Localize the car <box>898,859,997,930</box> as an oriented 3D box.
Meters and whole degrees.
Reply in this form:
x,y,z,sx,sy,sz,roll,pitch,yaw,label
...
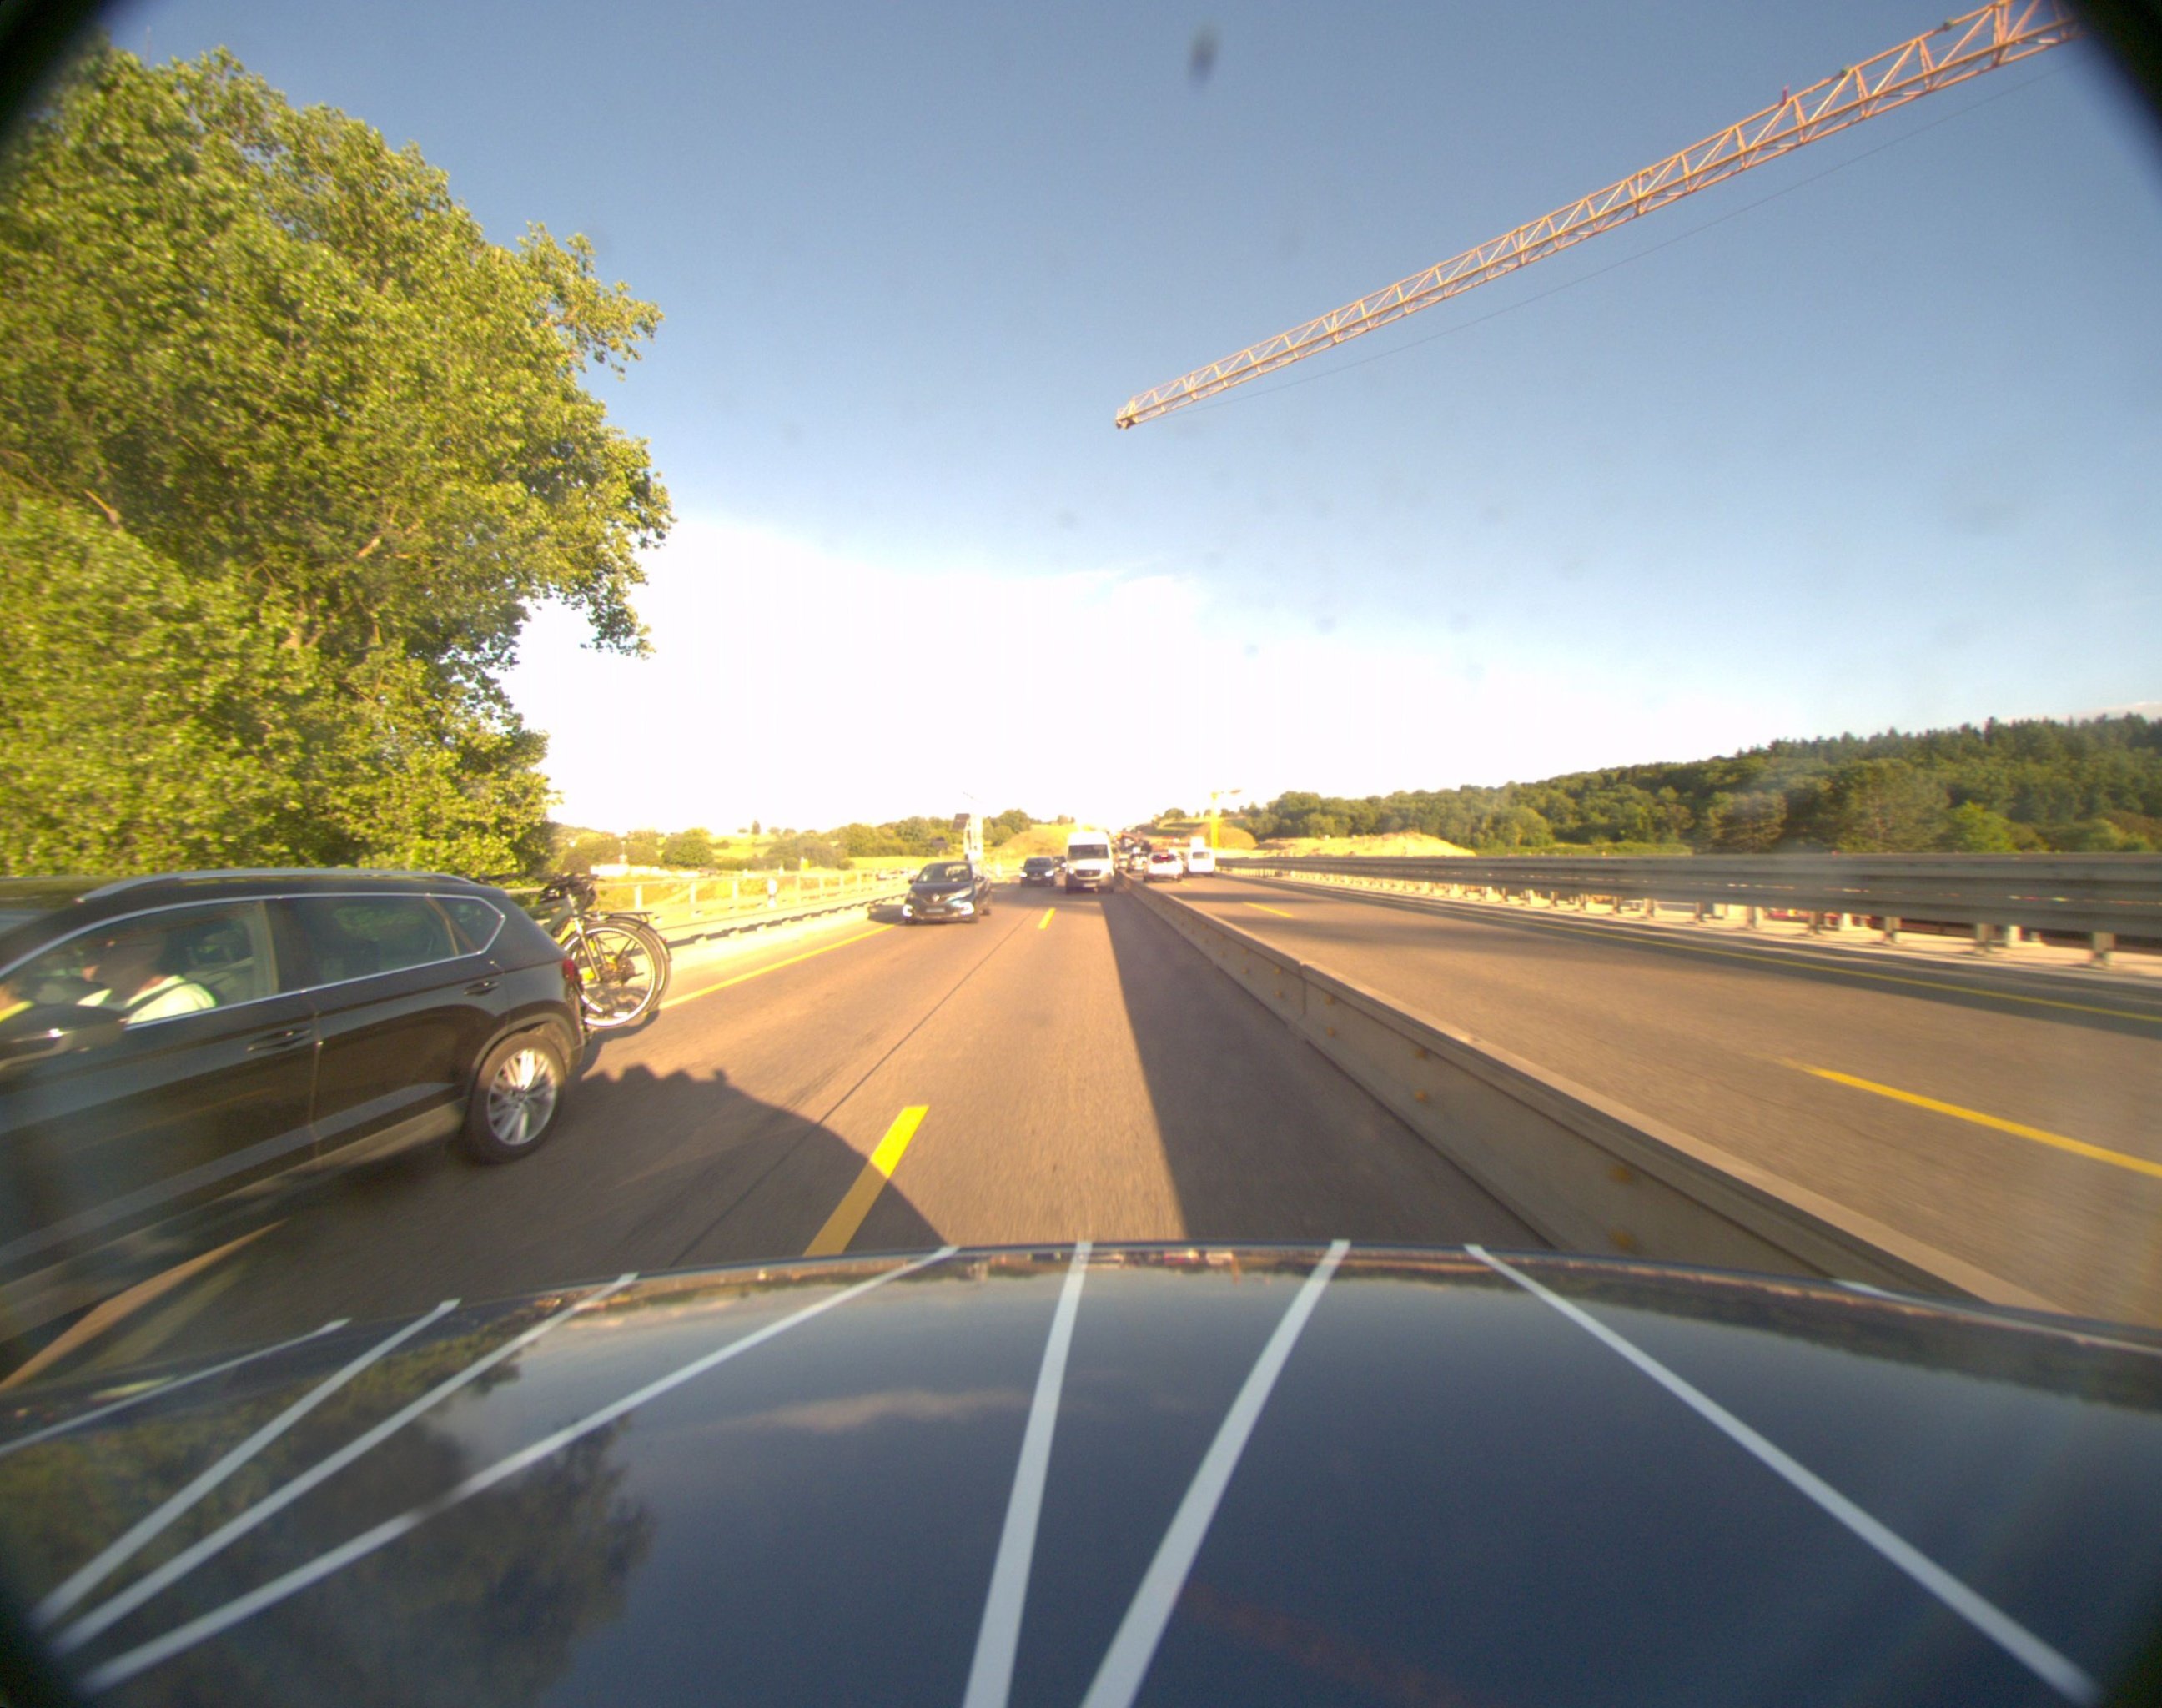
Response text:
x,y,z,sx,sy,sz,roll,pitch,yaw,label
-3.343,0.966,19.800,1.778,1.576,4.135,-2,-1,0,car

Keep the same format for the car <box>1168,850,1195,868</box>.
x,y,z,sx,sy,sz,roll,pitch,yaw,label
8.820,0.440,67.080,1.933,1.537,4.289,0,0,2,car

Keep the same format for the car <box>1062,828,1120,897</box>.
x,y,z,sx,sy,sz,roll,pitch,yaw,label
0.460,0.303,31.210,2.109,2.518,5.220,-2,0,2,car

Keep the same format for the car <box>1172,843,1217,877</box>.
x,y,z,sx,sy,sz,roll,pitch,yaw,label
7.105,0.309,48.099,1.999,1.846,4.280,-5,1,-1,car

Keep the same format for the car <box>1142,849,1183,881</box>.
x,y,z,sx,sy,sz,roll,pitch,yaw,label
4.358,0.572,41.186,1.843,1.630,4.000,-1,0,1,car

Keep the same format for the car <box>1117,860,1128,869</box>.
x,y,z,sx,sy,sz,roll,pitch,yaw,label
7.084,1.723,129.752,1.809,1.503,4.000,-2,0,1,car

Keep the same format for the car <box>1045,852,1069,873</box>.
x,y,z,sx,sy,sz,roll,pitch,yaw,label
-2.078,0.773,66.976,1.902,1.703,4.888,-2,0,0,car

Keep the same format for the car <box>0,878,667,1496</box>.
x,y,z,sx,sy,sz,roll,pitch,yaw,label
-3.931,0.995,2.938,1.880,1.590,4.965,-2,0,0,car

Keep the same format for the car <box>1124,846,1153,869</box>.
x,y,z,sx,sy,sz,roll,pitch,yaw,label
4.810,0.282,64.247,1.934,1.744,4.672,-2,0,-1,car

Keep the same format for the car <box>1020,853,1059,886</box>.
x,y,z,sx,sy,sz,roll,pitch,yaw,label
-2.228,0.838,41.987,1.817,1.606,4.526,-4,0,0,car

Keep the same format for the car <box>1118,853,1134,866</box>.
x,y,z,sx,sy,sz,roll,pitch,yaw,label
6.593,0.753,111.771,1.998,1.748,4.660,-2,0,1,car

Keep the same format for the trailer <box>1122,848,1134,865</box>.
x,y,z,sx,sy,sz,roll,pitch,yaw,label
12.094,0.697,196.713,2.821,4.026,14.024,-1,-1,2,trailer

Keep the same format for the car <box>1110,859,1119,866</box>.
x,y,z,sx,sy,sz,roll,pitch,yaw,label
8.015,1.960,183.746,1.998,1.635,4.512,-3,-1,1,car
